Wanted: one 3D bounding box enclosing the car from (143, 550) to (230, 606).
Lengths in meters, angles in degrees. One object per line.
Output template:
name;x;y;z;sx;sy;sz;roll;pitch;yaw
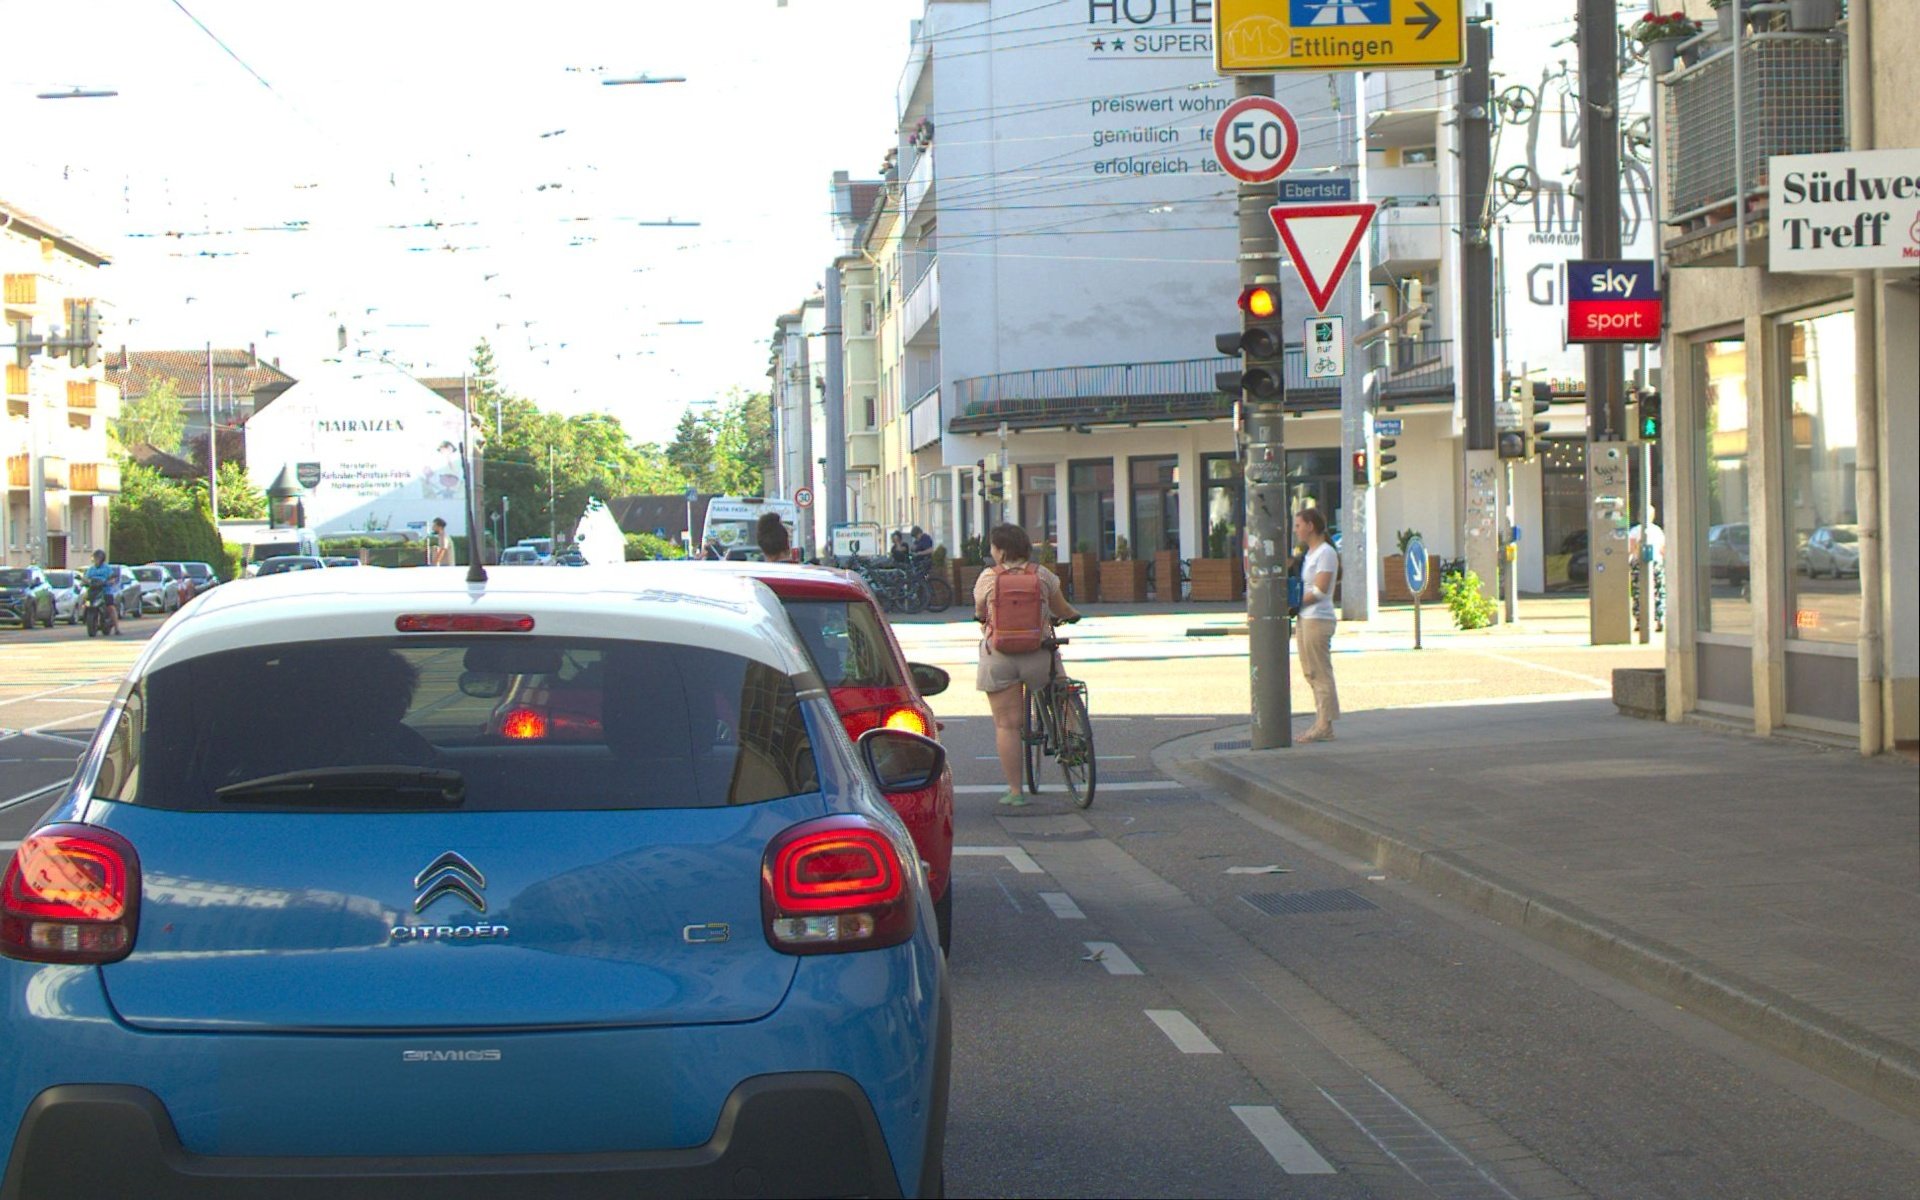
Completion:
car;-23.866;-0.695;106.174;1.983;1.681;4.001;1;1;-3

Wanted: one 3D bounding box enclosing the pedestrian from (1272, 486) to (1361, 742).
pedestrian;2.519;0.095;24.313;0.517;1.777;0.595;1;0;-2

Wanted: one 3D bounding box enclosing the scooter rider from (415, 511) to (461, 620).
scooter rider;-8.908;-0.584;58.679;0.722;1.826;0.717;-2;1;-9

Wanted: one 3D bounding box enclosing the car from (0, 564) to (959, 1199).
car;-0.859;0.656;7.182;1.654;1.439;3.523;1;1;-1

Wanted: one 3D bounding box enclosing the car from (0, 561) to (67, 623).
car;-23.661;-0.227;86.041;1.785;1.493;4.001;1;1;-4

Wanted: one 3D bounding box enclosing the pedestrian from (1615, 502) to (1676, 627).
pedestrian;8.850;-0.461;44.375;0.736;1.595;0.748;1;0;13

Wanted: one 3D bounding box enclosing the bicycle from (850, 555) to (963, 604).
bicycle;-1.028;-0.392;65.943;2.132;0.898;0.367;1;0;-9

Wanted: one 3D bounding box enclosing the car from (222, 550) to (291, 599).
car;-24.806;-0.894;121.267;1.846;1.681;3.875;1;1;-4

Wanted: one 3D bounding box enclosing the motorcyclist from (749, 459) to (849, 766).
motorcyclist;-0.913;0.067;19.614;0.526;1.710;0.717;1;0;-1

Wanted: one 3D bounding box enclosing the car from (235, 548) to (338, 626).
car;-14.938;-0.307;76.402;1.774;1.660;3.857;1;1;-4

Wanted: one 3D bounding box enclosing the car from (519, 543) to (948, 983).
car;-0.785;0.542;13.139;1.424;1.462;2.924;-1;0;-1

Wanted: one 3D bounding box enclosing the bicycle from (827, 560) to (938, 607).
bicycle;-1.515;-0.326;67.129;2.132;0.898;0.367;1;0;-9

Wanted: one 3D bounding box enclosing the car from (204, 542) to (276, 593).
car;-24.407;-1.104;116.626;1.833;1.681;4.001;1;1;-4

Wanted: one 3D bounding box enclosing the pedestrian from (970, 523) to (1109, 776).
pedestrian;0.460;0.284;20.223;0.777;1.455;0.682;1;0;-1

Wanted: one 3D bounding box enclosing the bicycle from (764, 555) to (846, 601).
bicycle;-3.135;-0.444;69.394;1.785;0.898;0.366;1;1;34

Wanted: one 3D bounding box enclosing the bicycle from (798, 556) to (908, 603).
bicycle;-2.122;-0.406;68.302;2.132;0.898;0.367;1;0;-9

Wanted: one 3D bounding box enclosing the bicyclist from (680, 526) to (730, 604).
bicyclist;-4.820;-0.662;64.930;0.746;1.472;0.562;1;0;28

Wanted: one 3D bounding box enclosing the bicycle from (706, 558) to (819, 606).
bicycle;-3.803;-0.349;66.210;2.132;0.898;0.367;1;0;-9

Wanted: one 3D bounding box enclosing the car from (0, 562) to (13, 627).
car;-23.182;-0.133;79.010;1.787;1.506;4.150;1;1;-2

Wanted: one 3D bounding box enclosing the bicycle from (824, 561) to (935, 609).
bicycle;-1.586;-0.295;67.544;2.132;0.898;0.367;1;0;-9

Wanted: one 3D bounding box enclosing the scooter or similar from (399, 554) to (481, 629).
scooter or similar;-8.875;-0.144;58.677;1.349;1.265;0.443;1;0;-10

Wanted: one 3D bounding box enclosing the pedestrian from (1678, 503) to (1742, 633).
pedestrian;9.735;-0.415;44.623;0.752;1.652;0.883;1;0;10

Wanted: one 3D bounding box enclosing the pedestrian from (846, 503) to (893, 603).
pedestrian;-1.817;-0.943;69.143;0.630;2.007;0.724;1;0;-36

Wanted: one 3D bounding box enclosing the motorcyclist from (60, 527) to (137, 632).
motorcyclist;-16.853;-0.416;67.291;1.185;2.007;1.276;-1;1;-3

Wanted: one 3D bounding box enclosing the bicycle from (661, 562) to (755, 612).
bicycle;-4.758;-0.248;64.877;1.856;0.900;0.349;1;0;29

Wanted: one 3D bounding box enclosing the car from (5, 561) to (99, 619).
car;-24.283;-0.279;92.024;1.732;1.493;4.001;1;1;-5

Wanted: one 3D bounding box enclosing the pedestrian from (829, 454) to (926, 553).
pedestrian;-1.742;-2.033;73.525;1.993;2.007;4.000;1;1;-1

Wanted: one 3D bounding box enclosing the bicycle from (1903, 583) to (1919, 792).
bicycle;4.848;0.427;15.777;0.542;0.995;1.706;1;1;-1

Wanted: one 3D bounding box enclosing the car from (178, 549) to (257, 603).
car;-23.995;-0.781;111.201;1.882;1.681;4.001;1;1;-4

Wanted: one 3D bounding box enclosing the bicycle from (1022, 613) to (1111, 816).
bicycle;0.623;0.654;20.510;0.427;1.119;1.998;1;1;-1

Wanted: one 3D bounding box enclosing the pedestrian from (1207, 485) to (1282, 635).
pedestrian;3.873;-0.543;46.857;0.926;2.007;0.759;1;0;-1

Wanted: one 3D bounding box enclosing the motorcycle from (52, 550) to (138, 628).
motorcycle;-16.829;-0.229;66.994;0.923;1.481;3.726;1;1;-3

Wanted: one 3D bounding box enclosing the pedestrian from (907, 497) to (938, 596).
pedestrian;-0.761;-1.084;70.085;0.577;2.007;0.626;1;0;-3
